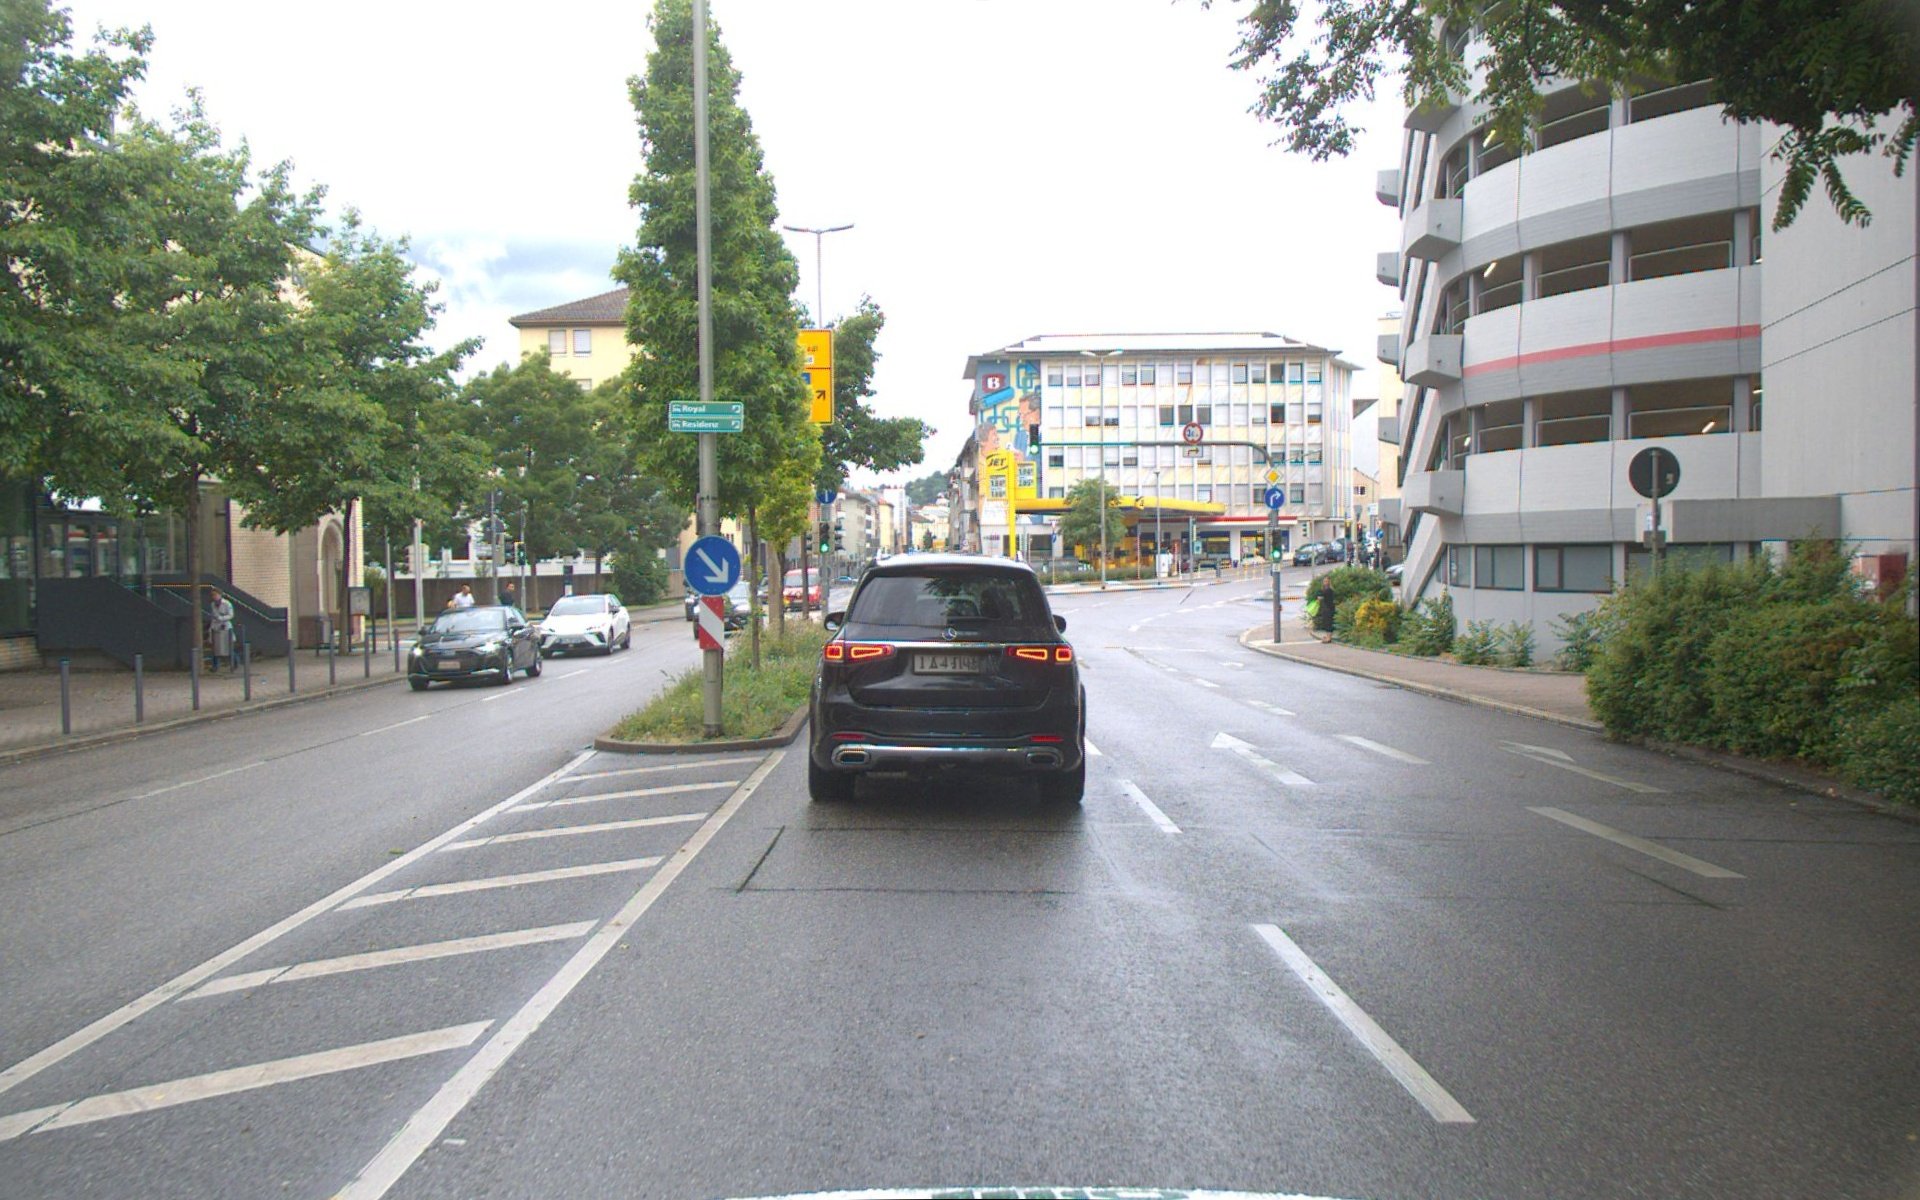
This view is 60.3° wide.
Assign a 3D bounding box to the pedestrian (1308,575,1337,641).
[{"bbox_3d":[9.755,0.217,44.498,0.634,1.740,0.470,0,-1,35],"label":"pedestrian"}]

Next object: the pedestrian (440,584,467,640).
[{"bbox_3d":[-14.243,0.341,46.515,0.430,1.560,0.545,-1,1,30],"label":"pedestrian"}]

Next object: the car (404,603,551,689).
[{"bbox_3d":[-8.989,0.809,31.124,1.698,1.418,4.197,-3,0,-3],"label":"car"}]

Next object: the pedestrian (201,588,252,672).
[{"bbox_3d":[-15.056,0.614,33.967,0.630,1.695,1.017,1,-1,-7],"label":"pedestrian"}]

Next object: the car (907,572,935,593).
[{"bbox_3d":[-2.991,-1.351,129.016,1.952,1.574,4.190,1,0,1],"label":"car"}]

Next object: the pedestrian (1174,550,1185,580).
[{"bbox_3d":[13.196,-2.101,99.384,0.560,1.727,0.631,1,-1,0],"label":"pedestrian"}]

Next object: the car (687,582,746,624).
[{"bbox_3d":[-10.045,0.104,68.466,1.851,1.614,4.535,-3,1,-2],"label":"car"}]

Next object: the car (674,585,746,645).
[{"bbox_3d":[-7.502,0.425,50.031,1.698,1.654,4.229,-3,1,-3],"label":"car"}]

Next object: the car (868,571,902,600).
[{"bbox_3d":[-4.457,-0.849,98.428,1.954,1.642,4.187,1,0,-3],"label":"car"}]

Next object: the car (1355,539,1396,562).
[{"bbox_3d":[33.093,-3.935,131.596,1.958,1.735,3.990,-1,1,32],"label":"car"}]

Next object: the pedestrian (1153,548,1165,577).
[{"bbox_3d":[12.113,-2.290,100.611,0.515,1.757,0.688,0,1,26],"label":"pedestrian"}]

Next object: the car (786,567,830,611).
[{"bbox_3d":[-6.889,-0.503,75.303,1.757,1.886,4.790,-3,0,-3],"label":"car"}]

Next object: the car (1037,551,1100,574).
[{"bbox_3d":[7.044,-2.418,107.539,1.724,1.400,3.935,-2,1,-44],"label":"car"}]

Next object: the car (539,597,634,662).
[{"bbox_3d":[-9.721,0.722,43.312,1.698,1.494,4.229,-3,1,-3],"label":"car"}]

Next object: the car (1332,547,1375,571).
[{"bbox_3d":[30.091,-3.129,126.469,1.958,1.735,3.990,-1,1,32],"label":"car"}]

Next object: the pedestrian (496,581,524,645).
[{"bbox_3d":[-12.653,0.360,46.500,0.675,1.788,0.716,-1,1,-12],"label":"pedestrian"}]

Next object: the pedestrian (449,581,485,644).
[{"bbox_3d":[-13.463,0.346,45.207,0.600,1.685,0.690,-1,1,30],"label":"pedestrian"}]

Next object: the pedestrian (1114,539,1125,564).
[{"bbox_3d":[11.094,-3.378,115.158,0.516,1.757,0.688,0,1,29],"label":"pedestrian"}]

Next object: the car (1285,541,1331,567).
[{"bbox_3d":[24.814,-3.288,117.898,1.958,1.735,3.990,-1,1,32],"label":"car"}]

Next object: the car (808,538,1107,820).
[{"bbox_3d":[-0.045,0.538,12.957,1.953,1.832,3.999,1,0,-1],"label":"car"}]

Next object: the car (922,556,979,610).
[{"bbox_3d":[-0.365,-0.577,59.850,1.953,1.832,3.999,1,0,-1],"label":"car"}]

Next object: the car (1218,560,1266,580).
[{"bbox_3d":[21.657,-2.263,126.978,1.961,1.422,3.982,1,-1,37],"label":"car"}]

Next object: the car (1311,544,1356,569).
[{"bbox_3d":[27.610,-3.205,122.211,1.958,1.735,3.990,-1,1,32],"label":"car"}]

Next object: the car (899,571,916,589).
[{"bbox_3d":[-6.387,-2.435,202.909,1.953,2.049,4.000,1,0,0],"label":"car"}]

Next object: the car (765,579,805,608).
[{"bbox_3d":[-9.749,-0.390,92.152,1.809,1.454,4.434,-3,2,-2],"label":"car"}]

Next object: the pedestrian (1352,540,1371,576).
[{"bbox_3d":[24.135,-2.509,99.425,0.838,2.165,0.947,-2,1,-7],"label":"pedestrian"}]

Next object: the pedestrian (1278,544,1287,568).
[{"bbox_3d":[23.196,-3.170,118.995,0.474,1.669,0.438,1,-1,27],"label":"pedestrian"}]

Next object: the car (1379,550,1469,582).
[{"bbox_3d":[23.288,-1.722,83.134,4.095,1.464,1.860,-1,1,5],"label":"car"}]

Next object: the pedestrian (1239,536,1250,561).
[{"bbox_3d":[19.907,-3.615,115.724,0.515,1.757,0.688,0,1,26],"label":"pedestrian"}]
